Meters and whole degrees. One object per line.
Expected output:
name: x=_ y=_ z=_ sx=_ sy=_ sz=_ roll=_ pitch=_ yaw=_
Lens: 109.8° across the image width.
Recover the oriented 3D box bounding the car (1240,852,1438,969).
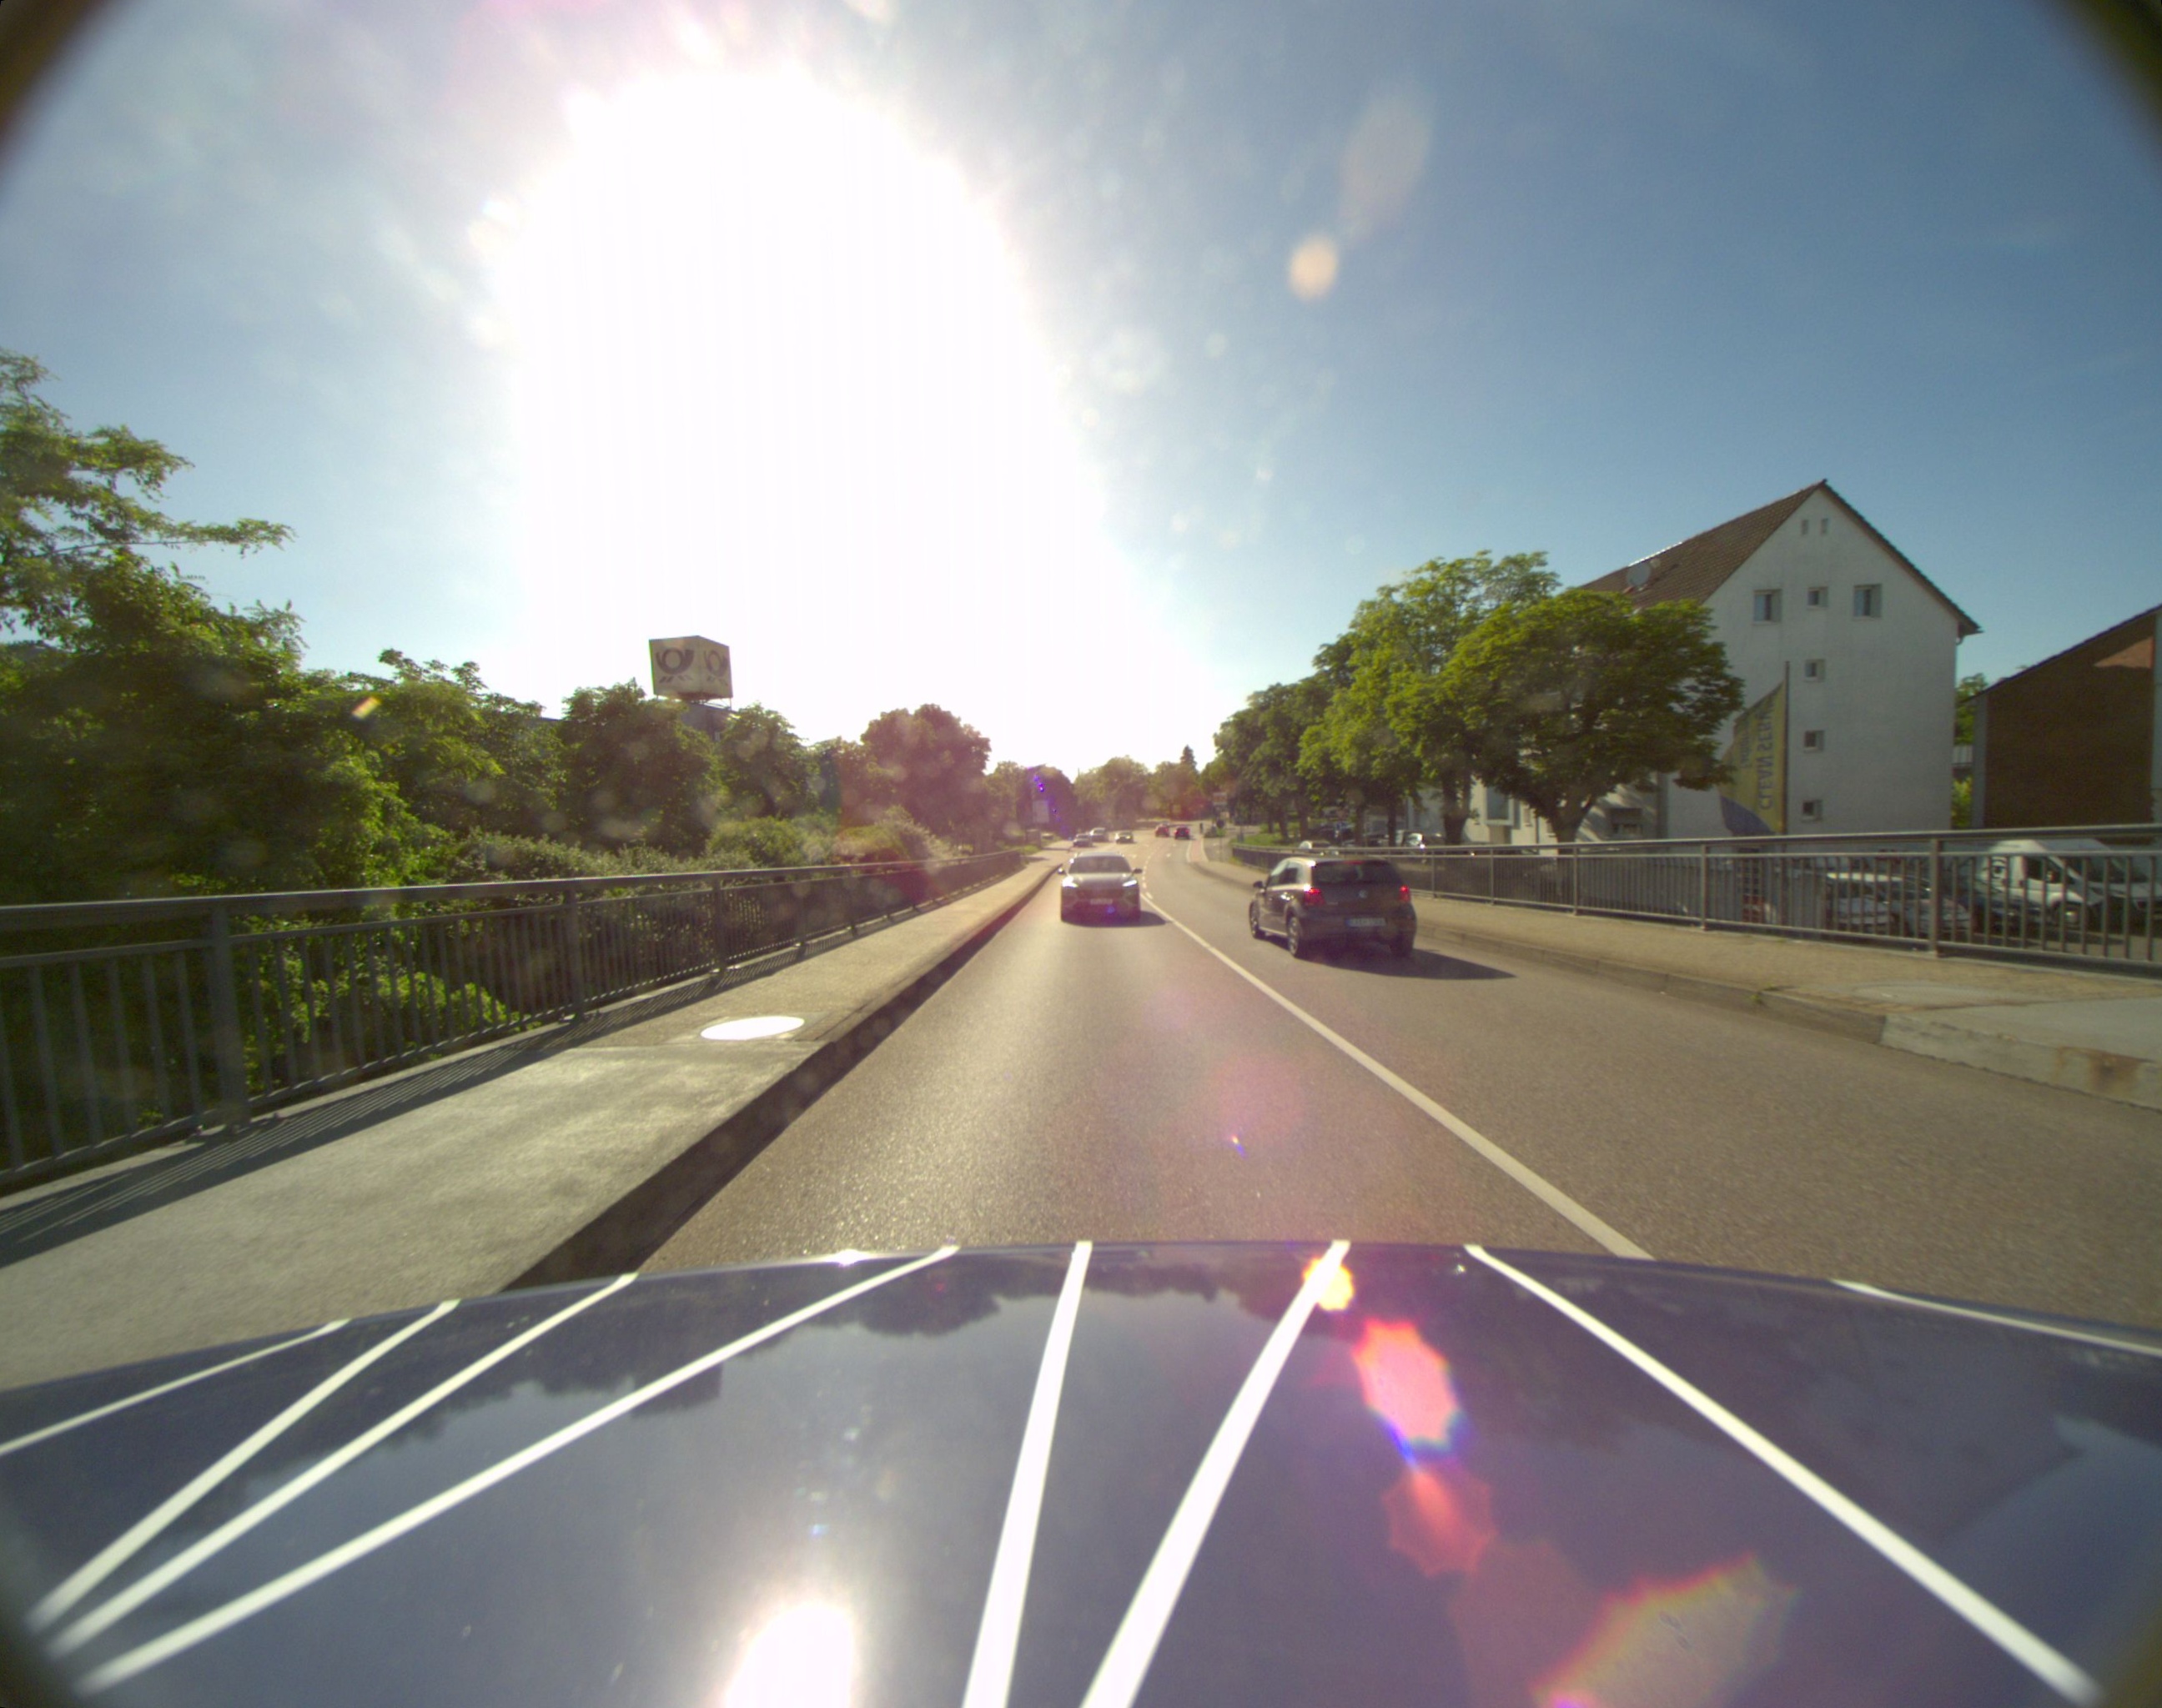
car: x=3.750 y=0.730 z=11.795 sx=1.774 sy=1.466 sz=3.989 roll=-1 pitch=1 yaw=1

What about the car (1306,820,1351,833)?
car: x=26.192 y=-2.923 z=80.450 sx=3.933 sy=1.234 sz=2.041 roll=-4 pitch=3 yaw=-12

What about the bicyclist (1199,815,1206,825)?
bicyclist: x=17.711 y=-4.877 z=110.472 sx=0.934 sy=1.394 sz=0.823 roll=-2 pitch=4 yaw=12

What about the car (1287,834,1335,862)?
car: x=14.823 y=-0.415 z=49.168 sx=2.042 sy=1.456 sz=4.960 roll=-2 pitch=4 yaw=6

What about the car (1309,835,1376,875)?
car: x=14.259 y=-0.028 z=41.714 sx=2.042 sy=1.720 sz=5.234 roll=-3 pitch=4 yaw=3

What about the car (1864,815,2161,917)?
car: x=26.889 y=0.300 z=22.081 sx=2.136 sy=2.546 sz=5.890 roll=-1 pitch=0 yaw=-1

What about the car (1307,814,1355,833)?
car: x=24.504 y=-3.007 z=74.490 sx=4.001 sy=1.552 sz=1.997 roll=-4 pitch=3 yaw=-12

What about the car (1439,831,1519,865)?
car: x=20.725 y=-0.326 z=39.596 sx=3.673 sy=1.502 sz=1.780 roll=-4 pitch=4 yaw=-24

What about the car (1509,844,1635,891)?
car: x=20.126 y=0.511 z=31.209 sx=4.011 sy=1.575 sz=1.896 roll=-3 pitch=3 yaw=-5

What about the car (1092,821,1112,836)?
car: x=2.797 y=-3.342 z=98.589 sx=1.876 sy=1.713 sz=4.612 roll=0 pitch=4 yaw=11

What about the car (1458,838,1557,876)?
car: x=20.538 y=0.104 z=36.641 sx=4.003 sy=1.589 sz=1.996 roll=-3 pitch=3 yaw=-19

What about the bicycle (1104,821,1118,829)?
bicycle: x=4.832 y=-4.736 z=122.670 sx=0.900 sy=1.119 sz=2.957 roll=-1 pitch=4 yaw=32

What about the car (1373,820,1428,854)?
car: x=21.181 y=-1.187 z=50.515 sx=1.751 sy=1.920 sz=5.101 roll=-2 pitch=4 yaw=4

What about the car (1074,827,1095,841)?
car: x=0.441 y=-2.342 z=87.185 sx=1.812 sy=1.412 sz=4.424 roll=-2 pitch=4 yaw=8

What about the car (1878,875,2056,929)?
car: x=24.264 y=1.274 z=20.966 sx=1.301 sy=1.072 sz=3.043 roll=-1 pitch=4 yaw=0

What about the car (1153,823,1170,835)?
car: x=11.400 y=-3.592 z=107.939 sx=1.918 sy=1.591 sz=3.997 roll=0 pitch=4 yaw=0

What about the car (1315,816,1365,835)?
car: x=24.520 y=-2.725 z=71.941 sx=3.999 sy=1.602 sz=1.920 roll=-3 pitch=3 yaw=-5

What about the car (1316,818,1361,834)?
car: x=26.349 y=-2.910 z=77.892 sx=3.880 sy=1.405 sz=1.944 roll=-4 pitch=3 yaw=-10

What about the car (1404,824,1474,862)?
car: x=21.058 y=-0.703 z=44.963 sx=2.074 sy=1.920 sz=4.785 roll=-3 pitch=4 yaw=3

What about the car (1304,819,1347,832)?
car: x=26.757 y=-3.101 z=83.256 sx=3.933 sy=1.234 sz=2.041 roll=-4 pitch=3 yaw=-12

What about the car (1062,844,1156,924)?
car: x=0.792 y=0.638 z=18.437 sx=1.713 sy=1.636 sz=4.057 roll=-1 pitch=2 yaw=10

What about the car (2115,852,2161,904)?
car: x=32.414 y=0.784 z=21.274 sx=1.693 sy=1.389 sz=3.809 roll=-3 pitch=4 yaw=0

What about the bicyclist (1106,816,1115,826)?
bicyclist: x=4.738 y=-5.318 z=122.539 sx=0.890 sy=1.684 sz=1.192 roll=-1 pitch=4 yaw=32

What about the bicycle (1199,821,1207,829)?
bicycle: x=17.768 y=-4.239 z=110.612 sx=0.938 sy=1.011 sz=2.197 roll=-2 pitch=3 yaw=12

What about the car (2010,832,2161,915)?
car: x=29.904 y=0.501 z=21.619 sx=1.998 sy=2.003 sz=3.997 roll=-3 pitch=4 yaw=0

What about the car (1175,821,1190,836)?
car: x=13.159 y=-3.332 z=98.365 sx=1.856 sy=1.726 sz=4.270 roll=-2 pitch=3 yaw=9
